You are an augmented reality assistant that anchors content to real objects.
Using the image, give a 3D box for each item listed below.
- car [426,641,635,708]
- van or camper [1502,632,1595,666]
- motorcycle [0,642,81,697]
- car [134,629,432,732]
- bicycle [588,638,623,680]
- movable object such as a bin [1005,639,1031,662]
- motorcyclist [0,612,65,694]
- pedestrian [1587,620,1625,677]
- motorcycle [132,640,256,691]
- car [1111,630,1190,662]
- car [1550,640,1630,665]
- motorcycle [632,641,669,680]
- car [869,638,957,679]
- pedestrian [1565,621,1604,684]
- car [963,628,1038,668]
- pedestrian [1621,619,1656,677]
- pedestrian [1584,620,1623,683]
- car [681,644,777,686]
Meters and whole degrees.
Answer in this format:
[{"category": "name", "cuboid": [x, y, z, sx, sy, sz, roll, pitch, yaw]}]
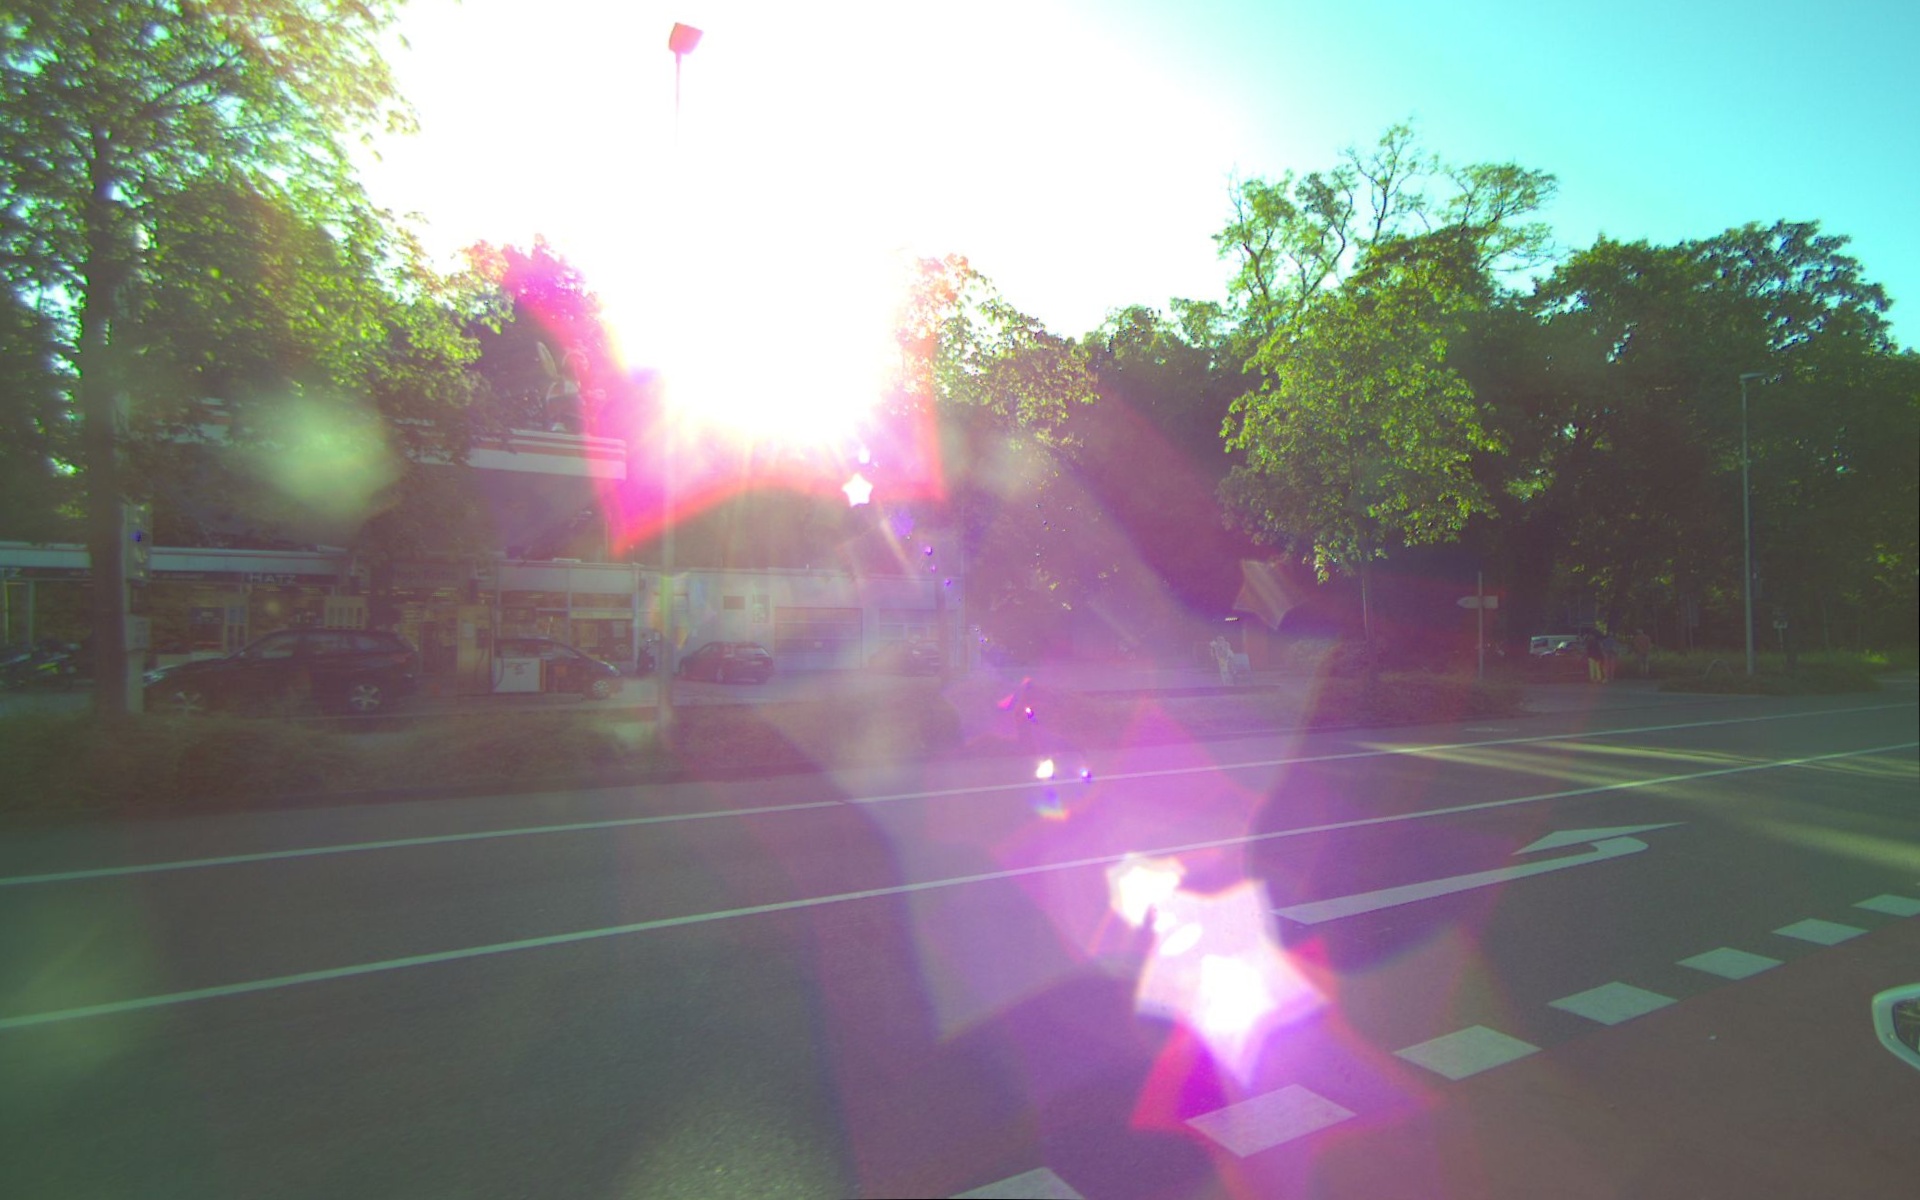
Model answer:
[{"category": "car", "cuboid": [-10.480, 1.766, 24.631, 4.525, 1.517, 1.702, 1, -3, -31]}, {"category": "van or camper", "cuboid": [41.311, 3.437, 70.554, 5.312, 2.040, 2.000, 3, -2, -1]}, {"category": "motorcycle", "cuboid": [-25.878, 1.894, 27.775, 2.455, 1.470, 1.135, -1, -2, 14]}, {"category": "car", "cuboid": [-12.408, 1.412, 18.701, 4.408, 1.713, 1.700, 1, -3, -35]}, {"category": "bicycle", "cuboid": [-12.919, 2.124, 36.584, 0.916, 1.496, 1.829, 1, -2, -29]}, {"category": "movable object such as a bin", "cuboid": [3.721, 3.201, 64.066, 1.200, 1.386, 1.297, 1, 0, -23]}, {"category": "motorcyclist", "cuboid": [-25.763, 1.443, 27.765, 0.996, 2.211, 1.124, -1, -2, 14]}, {"category": "pedestrian", "cuboid": [23.205, 1.731, 36.098, 0.857, 2.040, 0.719, 0, -2, 1]}, {"category": "motorcycle", "cuboid": [-22.626, 1.929, 29.728, 2.693, 1.470, 1.134, 0, -2, -4]}, {"category": "car", "cuboid": [11.141, 2.694, 58.919, 4.187, 1.844, 2.000, 0, -2, -1]}, {"category": "car", "cuboid": [41.152, 3.429, 65.708, 3.919, 1.546, 2.001, 0, -2, 4]}, {"category": "motorcycle", "cuboid": [-11.277, 2.170, 36.584, 0.916, 1.381, 1.829, 1, -2, -29]}, {"category": "car", "cuboid": [-1.994, 2.387, 41.556, 1.880, 1.576, 3.962, 1, -3, -34]}, {"category": "pedestrian", "cuboid": [20.297, 1.701, 32.661, 0.784, 2.040, 0.717, 0, -2, -16]}, {"category": "car", "cuboid": [2.084, 2.476, 52.611, 1.980, 2.006, 3.961, 1, -2, -35]}, {"category": "pedestrian", "cuboid": [24.254, 1.717, 35.896, 0.732, 2.040, 0.719, 0, -2, 1]}, {"category": "pedestrian", "cuboid": [21.062, 1.673, 32.903, 0.784, 2.040, 0.717, 1, -2, -16]}, {"category": "car", "cuboid": [-8.142, 2.249, 35.248, 1.705, 1.371, 3.586, 2, -3, -44]}]
